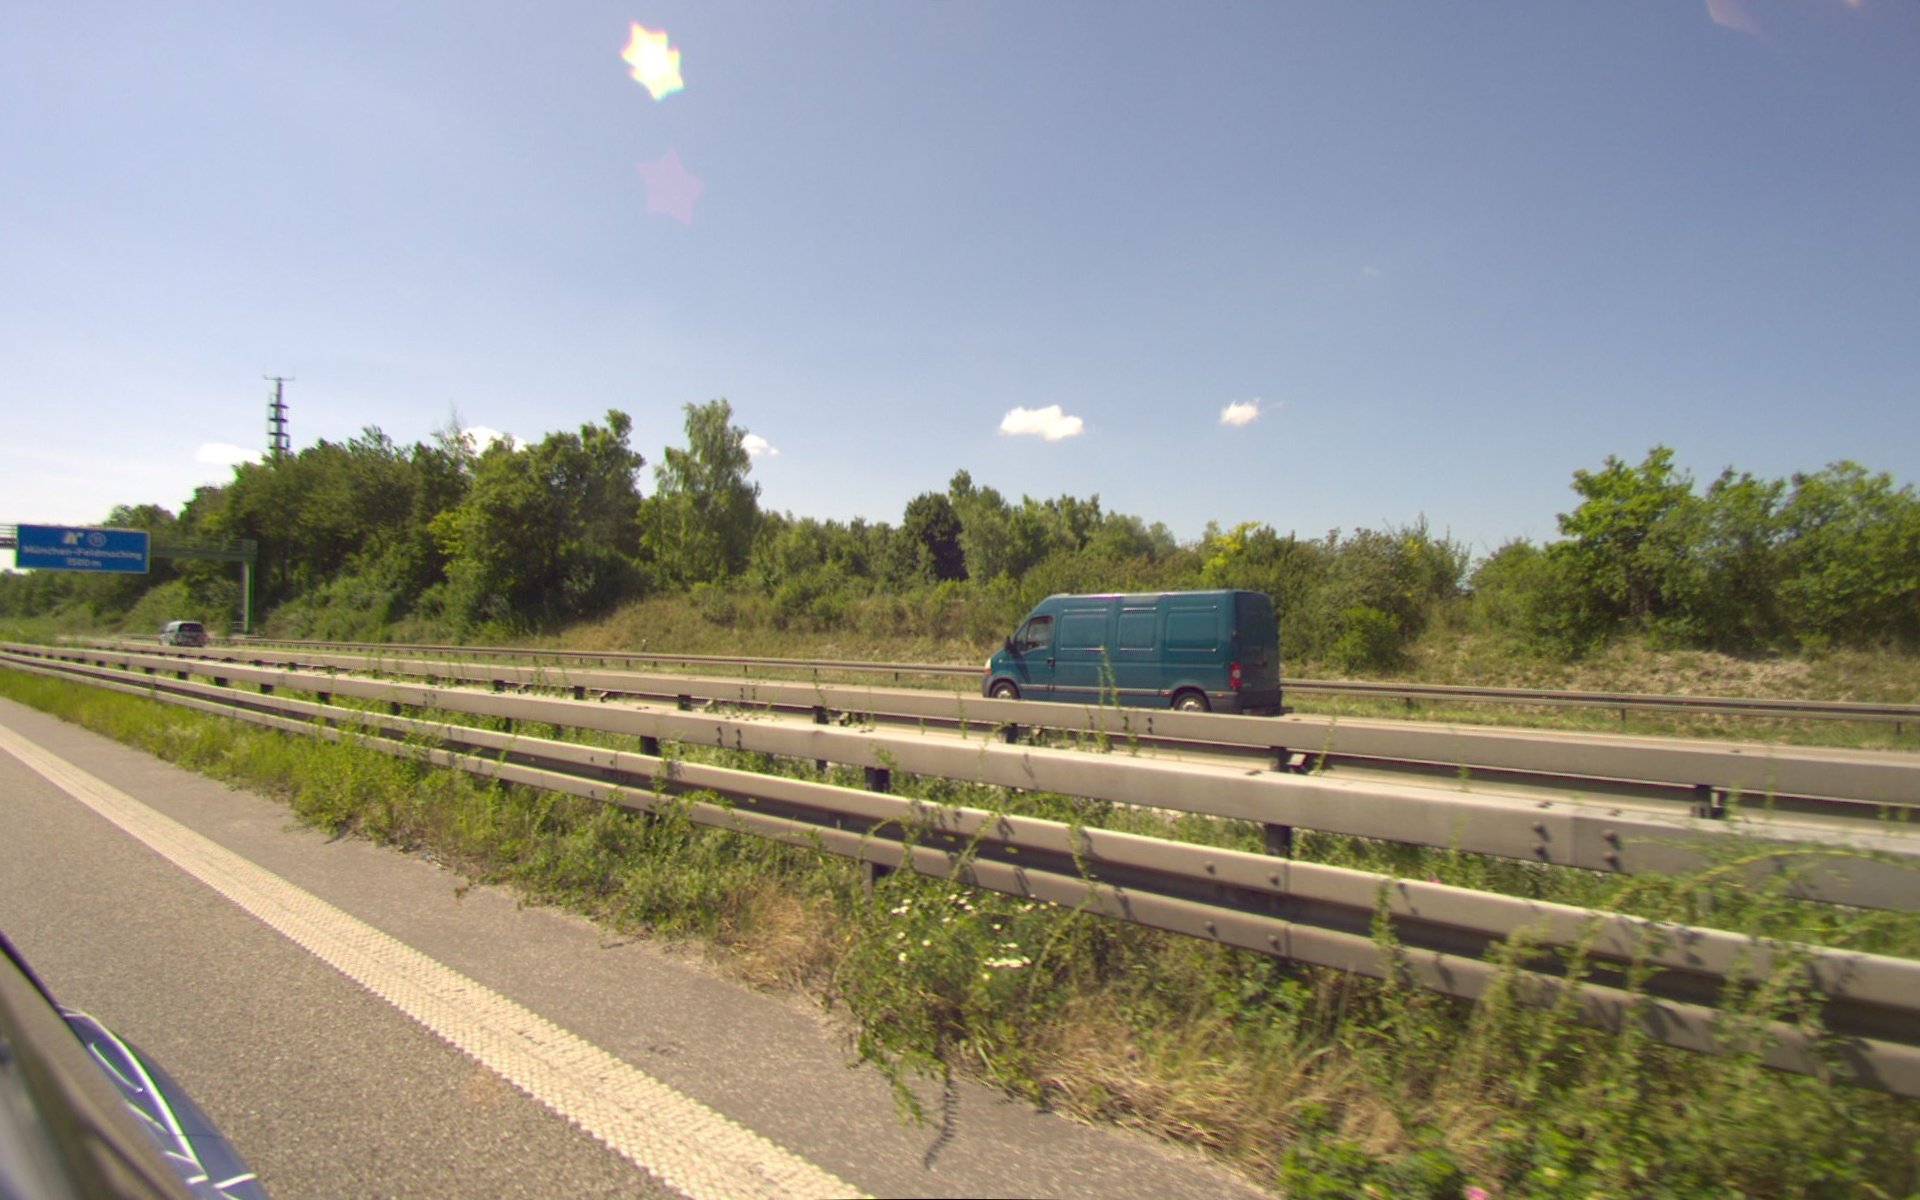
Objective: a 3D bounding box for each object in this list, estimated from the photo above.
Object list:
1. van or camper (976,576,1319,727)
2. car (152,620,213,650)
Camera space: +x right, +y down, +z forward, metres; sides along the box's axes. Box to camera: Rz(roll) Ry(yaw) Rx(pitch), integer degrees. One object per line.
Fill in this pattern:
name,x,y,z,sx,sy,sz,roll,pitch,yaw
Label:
van or camper,3.307,0.910,19.047,6.238,2.410,1.973,-1,-3,41
car,-50.638,2.283,65.881,5.328,1.849,1.973,-1,-4,40
